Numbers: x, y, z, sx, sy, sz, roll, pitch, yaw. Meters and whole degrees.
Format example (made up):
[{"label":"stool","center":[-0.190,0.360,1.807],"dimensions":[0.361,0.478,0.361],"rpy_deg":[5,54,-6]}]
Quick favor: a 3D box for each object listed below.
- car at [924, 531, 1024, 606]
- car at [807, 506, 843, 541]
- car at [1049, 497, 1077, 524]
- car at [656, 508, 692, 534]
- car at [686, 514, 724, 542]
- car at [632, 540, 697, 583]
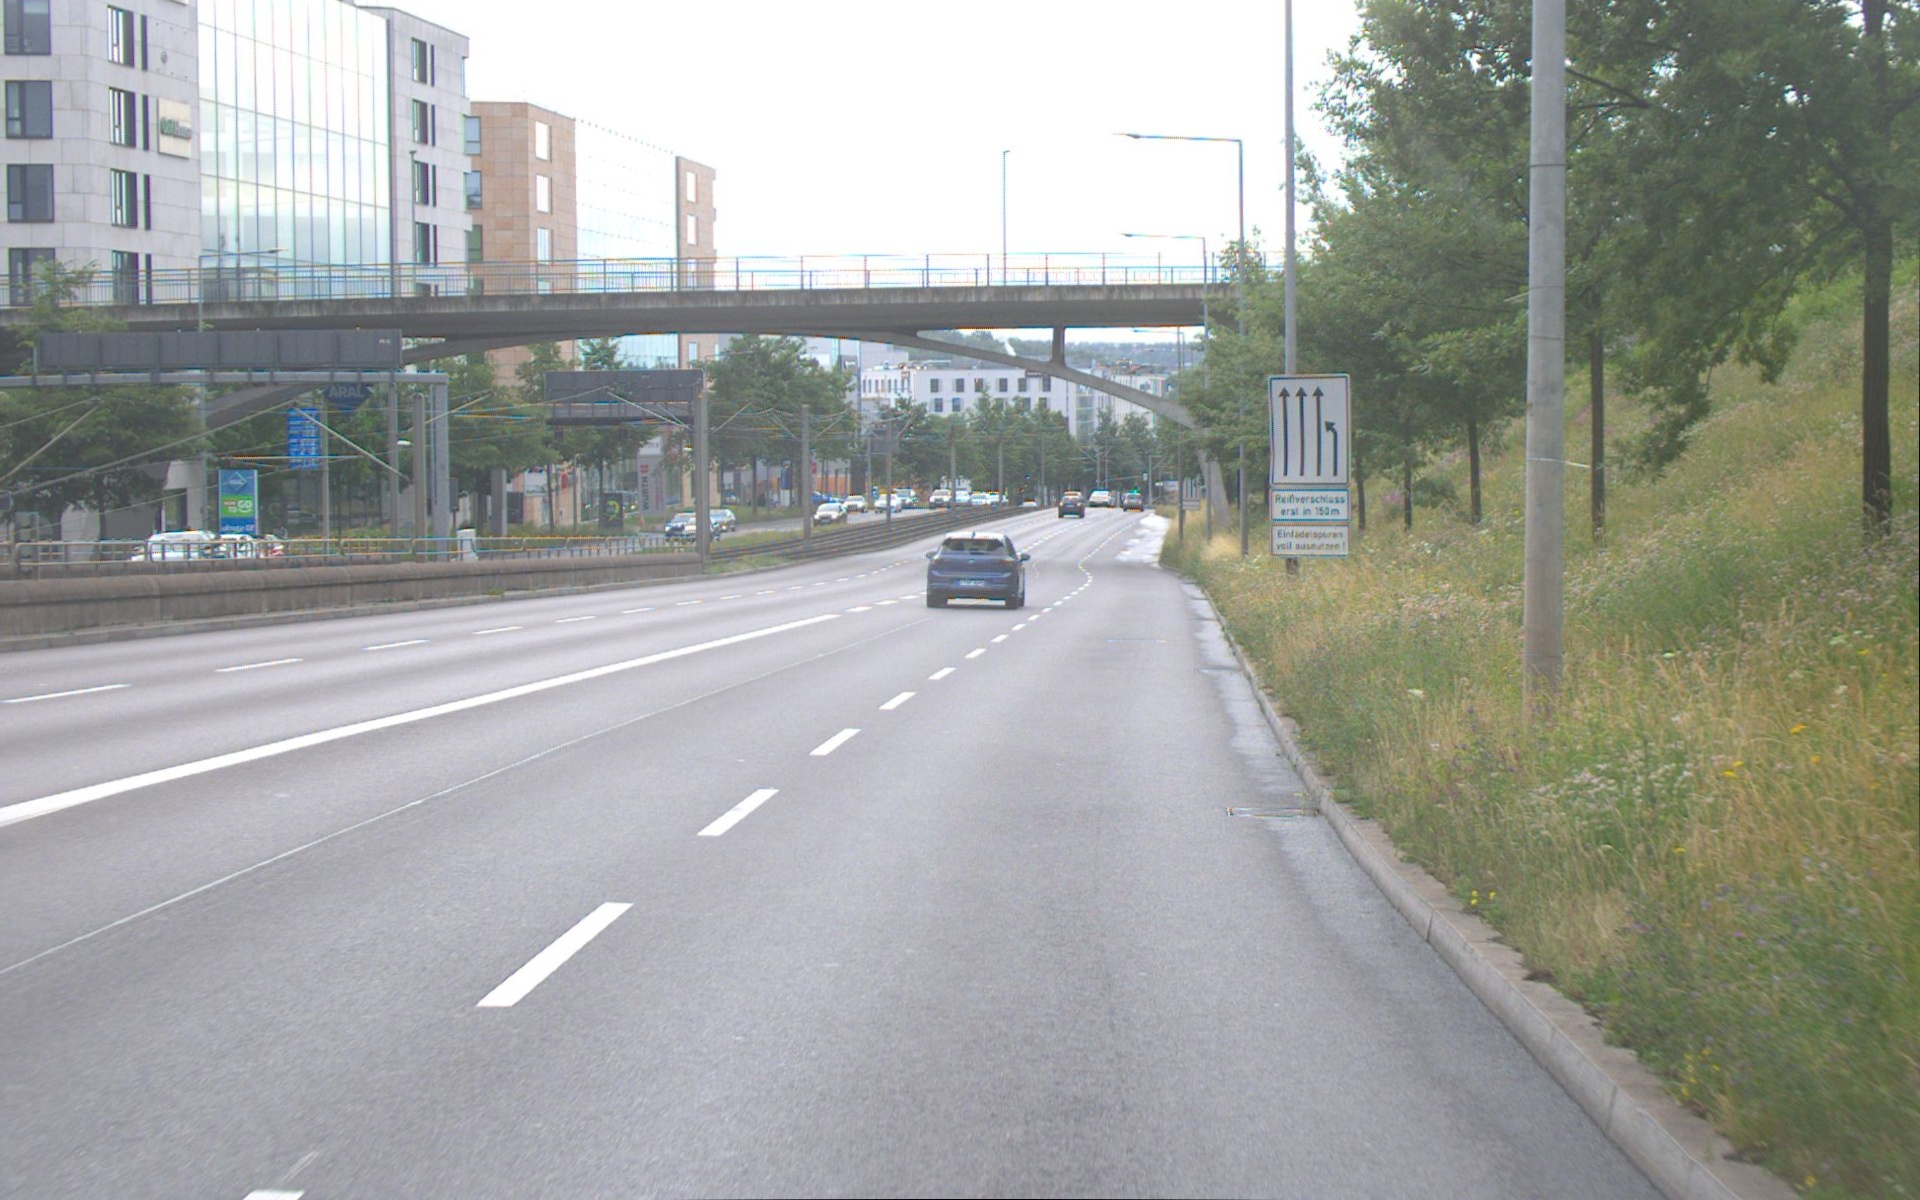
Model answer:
[{"label":"car","center":[0.299,-0.633,66.658],"dimensions":[1.749,1.415,3.478],"rpy_deg":[0,1,4]},{"label":"car","center":[-8.753,-4.987,222.915],"dimensions":[1.994,2.006,4.001],"rpy_deg":[2,4,2]},{"label":"car","center":[7.520,-6.569,251.385],"dimensions":[1.862,1.743,4.001],"rpy_deg":[2,4,0]},{"label":"car","center":[-15.717,-4.339,188.860],"dimensions":[1.518,1.415,3.478],"rpy_deg":[0,2,3]},{"label":"car","center":[-13.148,-3.722,177.229],"dimensions":[1.518,1.415,3.478],"rpy_deg":[0,2,3]},{"label":"car","center":[-10.367,-1.349,120.706],"dimensions":[1.749,1.415,3.478],"rpy_deg":[3,1,3]}]
